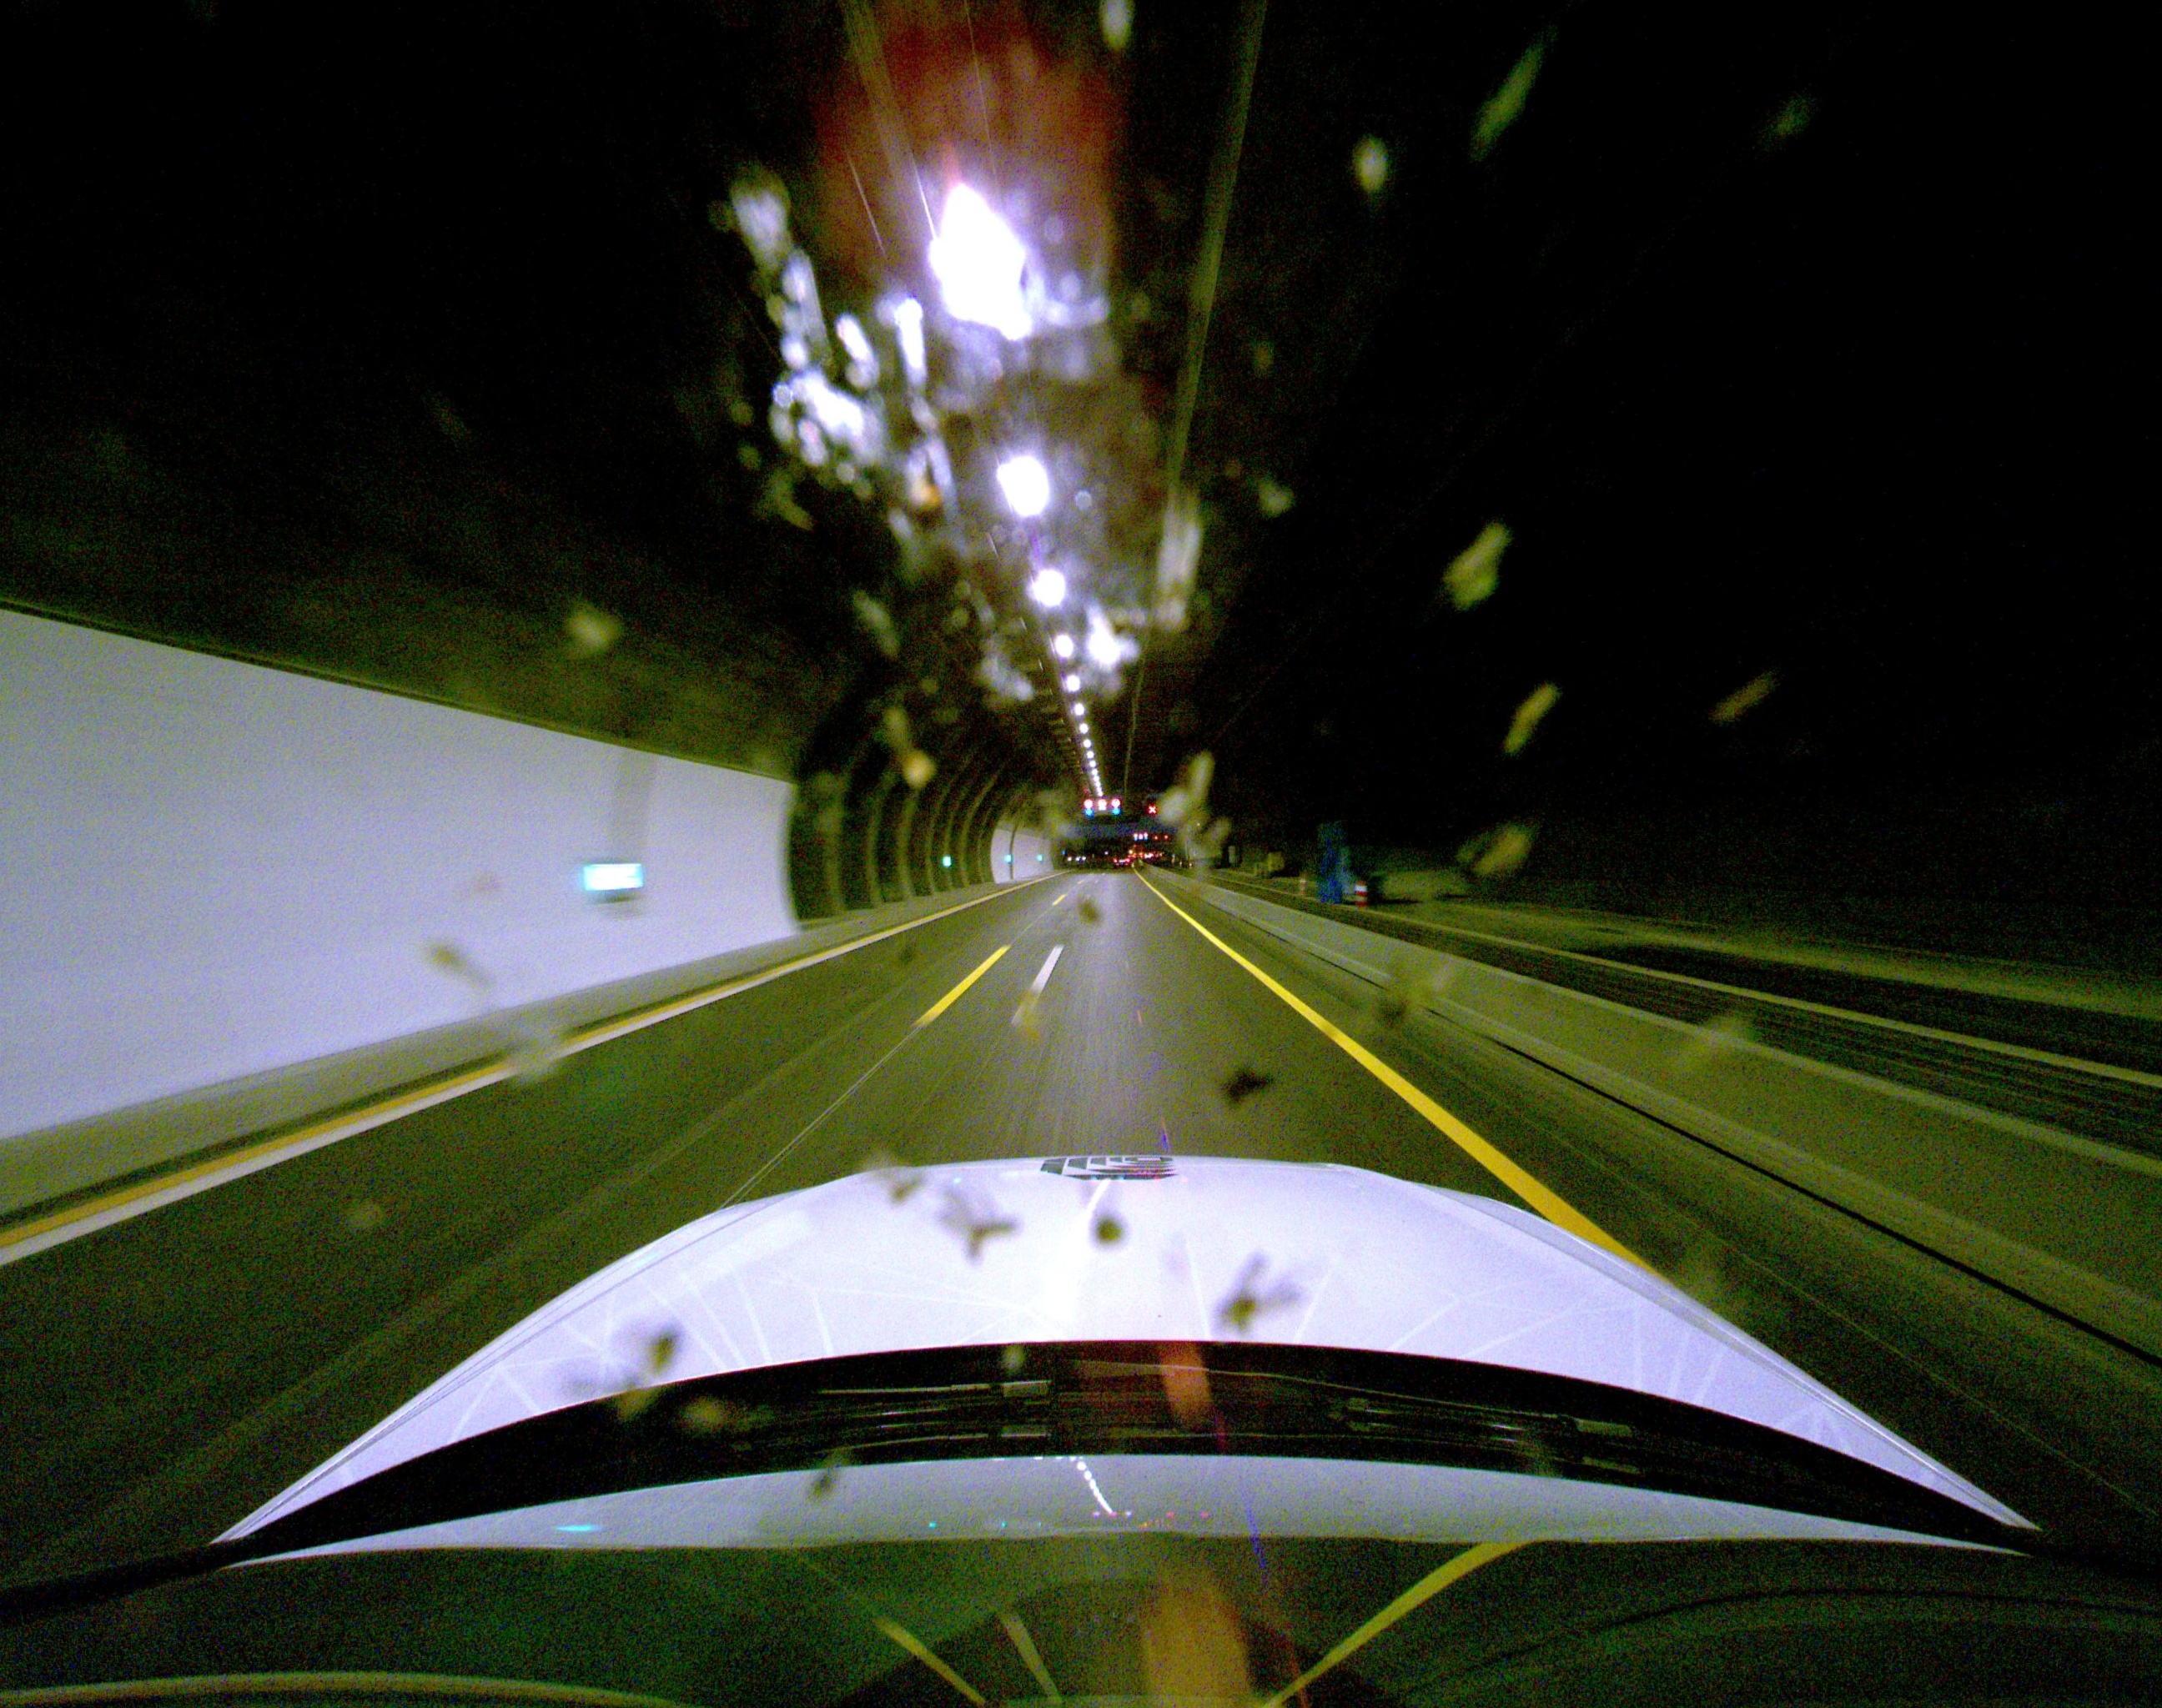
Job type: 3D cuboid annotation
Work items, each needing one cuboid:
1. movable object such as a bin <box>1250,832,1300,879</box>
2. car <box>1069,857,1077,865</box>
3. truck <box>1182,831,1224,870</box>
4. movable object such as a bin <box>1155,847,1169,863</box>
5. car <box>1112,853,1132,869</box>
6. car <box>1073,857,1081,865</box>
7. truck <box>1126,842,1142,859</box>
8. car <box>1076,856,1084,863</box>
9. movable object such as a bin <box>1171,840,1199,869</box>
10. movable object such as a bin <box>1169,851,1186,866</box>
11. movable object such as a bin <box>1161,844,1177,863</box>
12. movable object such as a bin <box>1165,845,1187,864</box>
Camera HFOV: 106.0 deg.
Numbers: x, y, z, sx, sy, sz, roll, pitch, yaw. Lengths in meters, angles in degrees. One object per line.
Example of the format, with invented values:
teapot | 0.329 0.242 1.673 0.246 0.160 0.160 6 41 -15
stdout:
movable object such as a bin | 10.755 0.091 45.429 1.750 2.380 4.001 -4 -1 2
car | -2.036 1.846 215.810 1.985 2.014 4.002 -1 0 2
truck | 11.050 -0.289 74.521 2.881 3.272 8.406 -1 0 3
movable object such as a bin | 17.843 0.292 178.954 2.725 3.455 6.953 -1 0 4
car | 4.379 0.759 87.865 1.882 1.607 3.999 -1 0 0
car | -1.143 1.905 225.886 1.985 2.014 4.002 -1 0 2
truck | 16.037 -1.035 245.748 4.526 4.987 9.608 -1 0 4
car | -0.294 1.613 232.796 1.985 2.014 4.002 -1 0 2
movable object such as a bin | 10.695 0.093 84.063 2.229 2.794 7.237 -1 0 3
movable object such as a bin | 12.788 0.599 107.786 1.970 1.816 3.839 -1 0 2
movable object such as a bin | 17.219 -0.116 159.793 2.725 3.679 6.339 -1 0 4
movable object such as a bin | 13.997 0.112 120.465 2.725 2.754 7.056 -1 0 4
